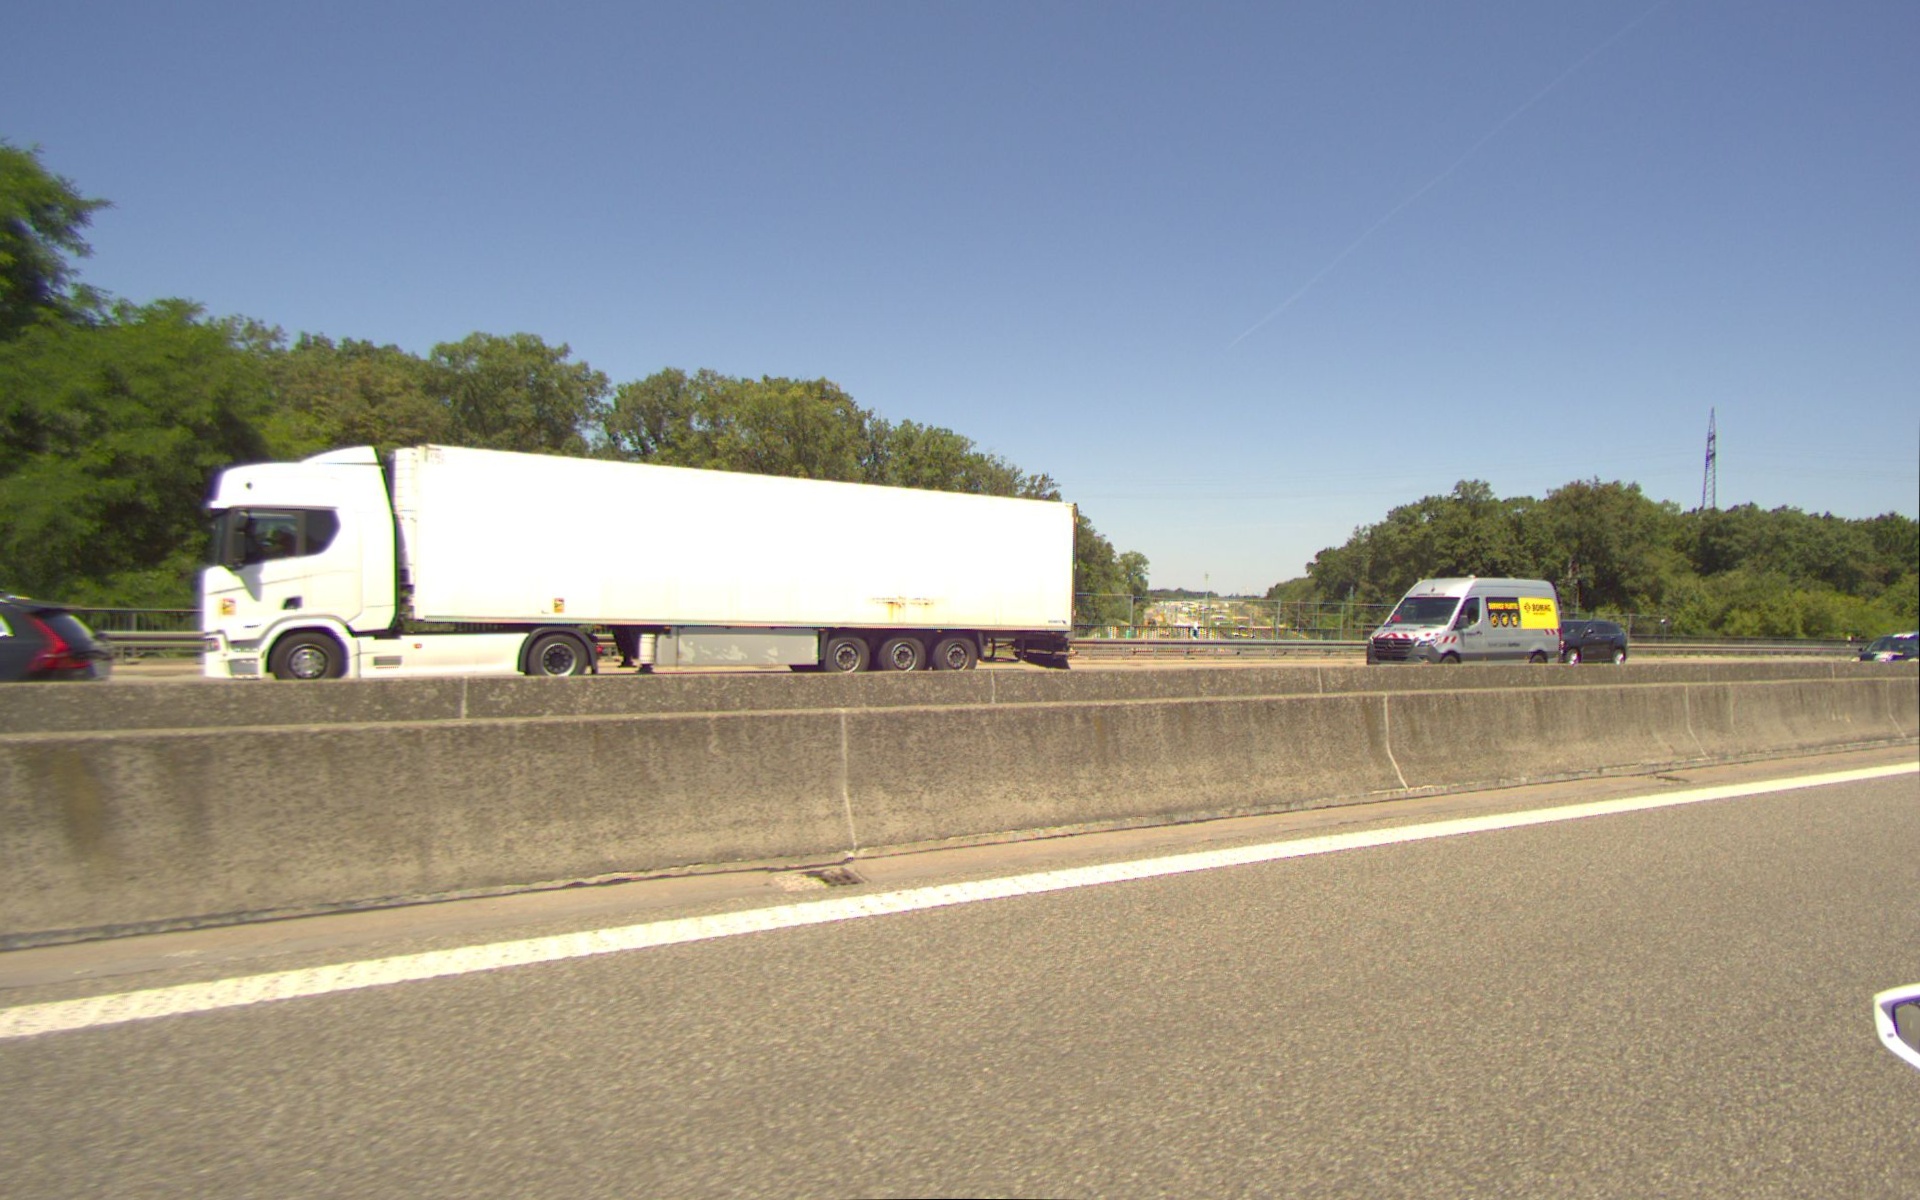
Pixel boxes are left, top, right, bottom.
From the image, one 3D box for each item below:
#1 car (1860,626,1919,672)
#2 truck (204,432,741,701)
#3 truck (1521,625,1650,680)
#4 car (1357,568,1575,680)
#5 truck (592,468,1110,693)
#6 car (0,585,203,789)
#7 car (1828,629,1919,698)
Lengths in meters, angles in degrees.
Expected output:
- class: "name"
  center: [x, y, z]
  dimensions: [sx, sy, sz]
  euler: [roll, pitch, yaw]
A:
- class: "car"
  center: [38.117, 1.931, 40.116]
  dimensions: [4.486, 1.735, 1.990]
  euler: [2, -1, -30]
- class: "truck"
  center: [-8.467, -0.432, 18.412]
  dimensions: [8.187, 4.030, 3.035]
  euler: [1, 0, -29]
- class: "truck"
  center: [22.376, 1.841, 35.914]
  dimensions: [4.687, 1.824, 1.984]
  euler: [2, -1, -31]
- class: "car"
  center: [13.028, 0.628, 25.708]
  dimensions: [6.056, 2.602, 1.984]
  euler: [2, -1, -30]
- class: "truck"
  center: [-2.033, -0.250, 22.052]
  dimensions: [11.013, 4.030, 3.035]
  euler: [1, 0, -29]
- class: "car"
  center: [-9.484, 0.672, 8.256]
  dimensions: [4.957, 1.650, 1.984]
  euler: [2, -1, -31]
- class: "car"
  center: [27.835, 1.829, 29.829]
  dimensions: [3.954, 1.873, 1.984]
  euler: [2, -1, -31]
